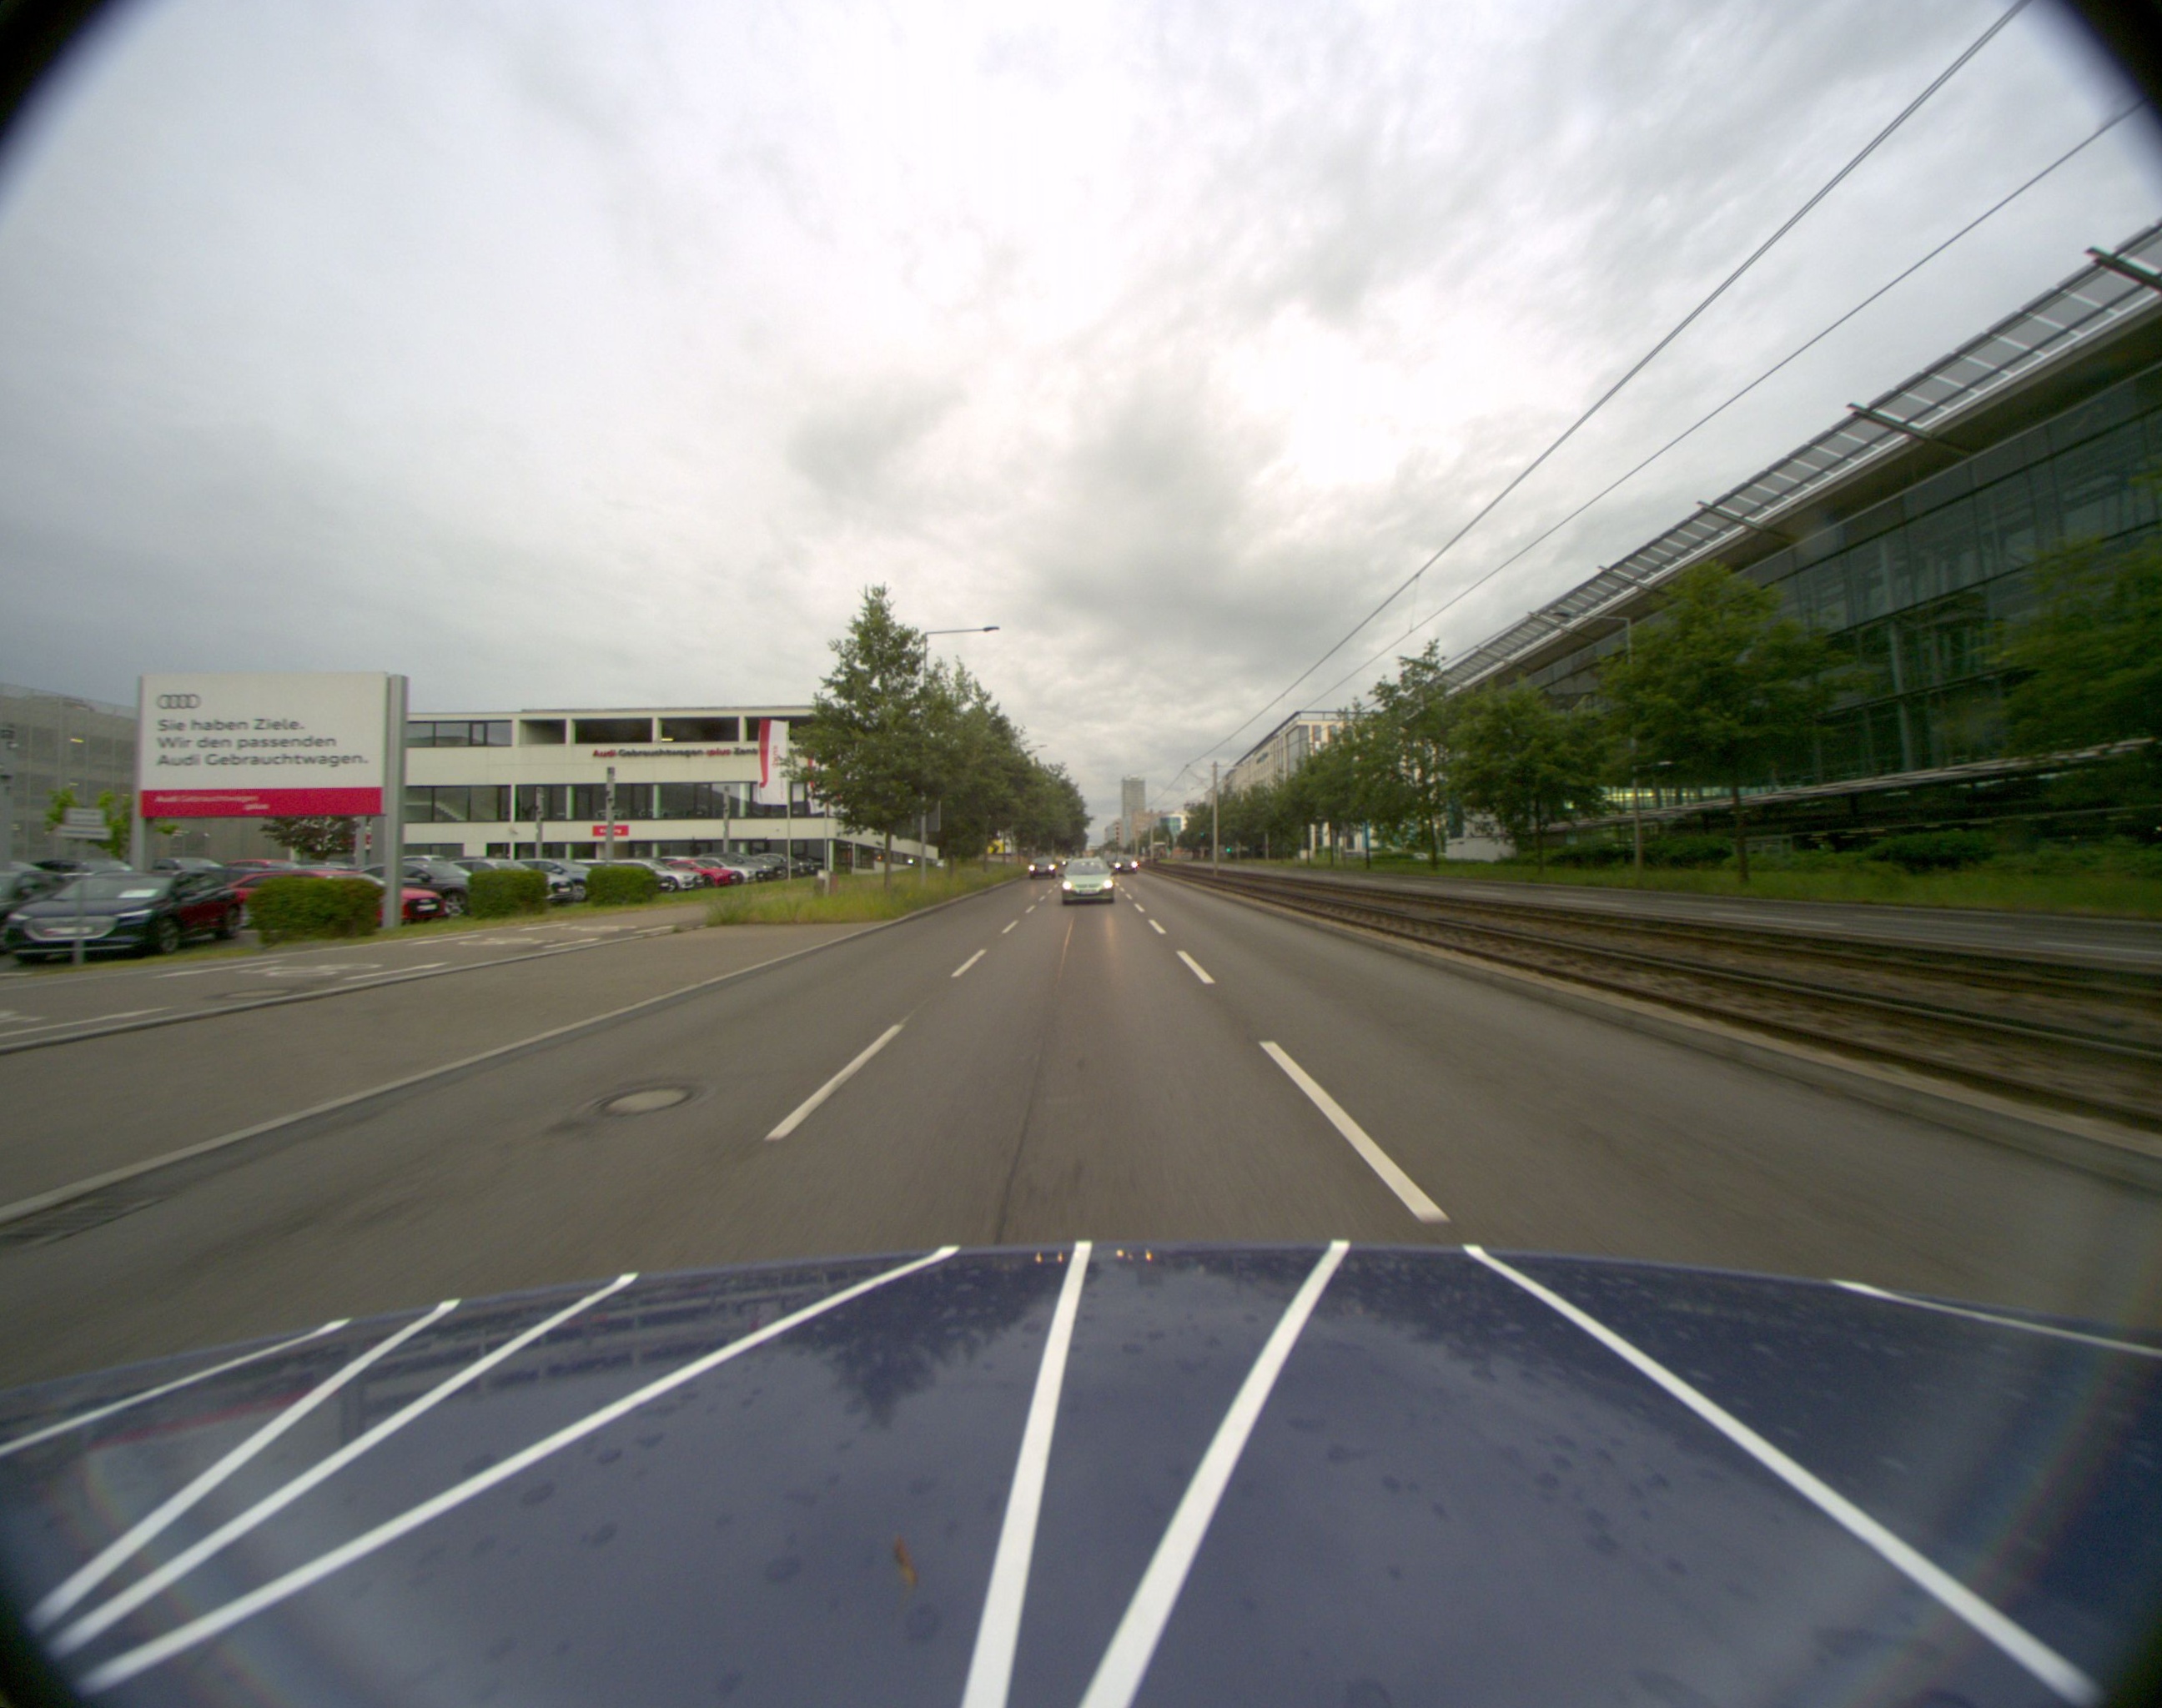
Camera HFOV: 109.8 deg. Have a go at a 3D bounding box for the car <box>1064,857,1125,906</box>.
[{"bbox_3d":[0.554,0.915,26.238,1.828,1.499,4.116,-2,-1,4],"label":"car"}]

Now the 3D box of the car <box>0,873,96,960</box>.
[{"bbox_3d":[-21.904,1.209,15.026,1.775,1.584,3.553,1,0,-31],"label":"car"}]

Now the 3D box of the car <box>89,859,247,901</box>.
[{"bbox_3d":[-38.312,1.066,31.981,4.288,1.584,1.826,-1,1,-1],"label":"car"}]

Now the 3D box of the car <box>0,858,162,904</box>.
[{"bbox_3d":[-38.341,0.997,28.955,4.288,1.584,1.826,-1,1,-1],"label":"car"}]

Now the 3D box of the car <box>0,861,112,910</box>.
[{"bbox_3d":[-36.973,1.083,26.323,4.288,1.584,1.826,-1,1,-1],"label":"car"}]

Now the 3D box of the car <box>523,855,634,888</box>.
[{"bbox_3d":[-25.061,0.850,37.992,4.288,1.542,1.826,-1,1,-1],"label":"car"}]

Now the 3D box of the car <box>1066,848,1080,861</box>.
[{"bbox_3d":[-1.273,0.103,119.291,1.860,1.799,4.116,-2,-1,3],"label":"car"}]

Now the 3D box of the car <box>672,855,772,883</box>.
[{"bbox_3d":[-19.177,0.768,40.738,4.408,1.419,1.890,0,1,1],"label":"car"}]

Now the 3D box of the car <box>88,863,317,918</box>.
[{"bbox_3d":[-26.493,1.071,23.063,4.474,1.542,1.930,0,1,-4],"label":"car"}]

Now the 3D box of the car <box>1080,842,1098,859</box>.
[{"bbox_3d":[1.034,-0.449,98.069,1.998,2.002,4.000,-3,1,4],"label":"car"}]

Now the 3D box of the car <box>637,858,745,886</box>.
[{"bbox_3d":[-19.465,0.886,38.042,4.408,1.341,1.930,0,2,0],"label":"car"}]

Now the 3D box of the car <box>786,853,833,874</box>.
[{"bbox_3d":[-19.359,0.643,54.362,1.902,1.330,3.921,-1,1,0],"label":"car"}]

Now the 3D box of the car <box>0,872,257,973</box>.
[{"bbox_3d":[-19.041,1.239,15.454,1.840,1.584,4.350,-2,1,-30],"label":"car"}]

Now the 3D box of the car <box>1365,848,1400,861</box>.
[{"bbox_3d":[38.602,0.053,97.323,3.990,1.383,1.806,-2,1,28],"label":"car"}]

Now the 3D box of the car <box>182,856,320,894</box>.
[{"bbox_3d":[-38.409,0.939,35.246,4.288,1.584,1.826,-1,1,-1],"label":"car"}]

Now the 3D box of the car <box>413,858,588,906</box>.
[{"bbox_3d":[-19.796,0.921,26.051,4.472,1.542,1.931,0,1,0],"label":"car"}]

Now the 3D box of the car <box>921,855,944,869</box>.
[{"bbox_3d":[-18.960,1.050,97.142,1.907,1.666,4.589,0,1,0],"label":"car"}]

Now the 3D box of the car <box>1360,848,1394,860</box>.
[{"bbox_3d":[39.156,0.000,100.575,3.990,1.383,1.806,-2,1,28],"label":"car"}]

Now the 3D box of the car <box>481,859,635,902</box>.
[{"bbox_3d":[-19.795,0.982,28.880,4.472,1.520,1.931,0,1,0],"label":"car"}]

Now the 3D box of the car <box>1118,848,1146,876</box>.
[{"bbox_3d":[4.026,0.602,59.678,1.998,2.002,4.000,-3,1,4],"label":"car"}]

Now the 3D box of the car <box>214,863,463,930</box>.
[{"bbox_3d":[-19.454,1.074,20.106,4.474,1.542,1.930,-1,1,-4],"label":"car"}]

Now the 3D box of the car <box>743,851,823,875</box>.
[{"bbox_3d":[-19.576,0.579,50.028,4.408,1.473,1.931,-1,1,0],"label":"car"}]

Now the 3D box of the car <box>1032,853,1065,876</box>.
[{"bbox_3d":[-2.327,0.794,55.552,1.828,1.599,4.116,-2,-1,5],"label":"car"}]

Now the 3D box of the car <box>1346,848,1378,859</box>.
[{"bbox_3d":[39.449,-0.101,106.795,3.990,1.383,1.806,-2,1,28],"label":"car"}]

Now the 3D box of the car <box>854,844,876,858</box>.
[{"bbox_3d":[-28.094,-0.378,99.062,1.702,1.666,3.641,-3,1,0],"label":"car"}]

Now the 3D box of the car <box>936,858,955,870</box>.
[{"bbox_3d":[-18.645,1.377,104.437,1.702,1.476,4.460,-3,1,0],"label":"car"}]

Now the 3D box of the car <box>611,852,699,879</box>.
[{"bbox_3d":[-25.975,0.696,46.401,4.288,1.542,1.826,-1,1,-1],"label":"car"}]

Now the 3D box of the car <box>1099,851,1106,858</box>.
[{"bbox_3d":[6.359,0.116,226.688,1.998,1.838,4.000,-3,1,2],"label":"car"}]

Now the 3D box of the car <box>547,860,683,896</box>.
[{"bbox_3d":[-19.429,0.985,31.832,4.472,1.447,1.931,0,1,0],"label":"car"}]

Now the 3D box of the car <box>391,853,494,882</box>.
[{"bbox_3d":[-36.894,0.757,43.961,4.288,1.584,1.826,-1,1,-1],"label":"car"}]

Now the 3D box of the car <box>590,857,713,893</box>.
[{"bbox_3d":[-19.568,0.939,34.751,4.472,1.447,1.931,-1,1,0],"label":"car"}]

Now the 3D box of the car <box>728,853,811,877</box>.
[{"bbox_3d":[-19.161,0.671,46.924,4.331,1.370,1.836,0,1,-2],"label":"car"}]

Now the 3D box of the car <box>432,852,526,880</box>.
[{"bbox_3d":[-37.254,0.709,47.080,4.288,1.584,1.826,-1,1,-1],"label":"car"}]

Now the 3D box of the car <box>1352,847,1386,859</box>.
[{"bbox_3d":[39.296,-0.151,103.660,3.990,1.383,1.767,-2,1,28],"label":"car"}]

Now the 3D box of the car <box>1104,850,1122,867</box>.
[{"bbox_3d":[3.589,0.539,85.351,1.860,1.799,4.116,-2,-1,3],"label":"car"}]

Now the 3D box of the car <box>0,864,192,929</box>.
[{"bbox_3d":[-27.060,1.101,20.160,4.474,1.542,1.930,1,1,-4],"label":"car"}]

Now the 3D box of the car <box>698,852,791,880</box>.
[{"bbox_3d":[-19.286,0.671,43.668,4.408,1.492,2.040,0,1,1],"label":"car"}]

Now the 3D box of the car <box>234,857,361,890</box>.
[{"bbox_3d":[-38.790,0.949,37.716,4.288,1.460,1.826,-1,1,-1],"label":"car"}]
